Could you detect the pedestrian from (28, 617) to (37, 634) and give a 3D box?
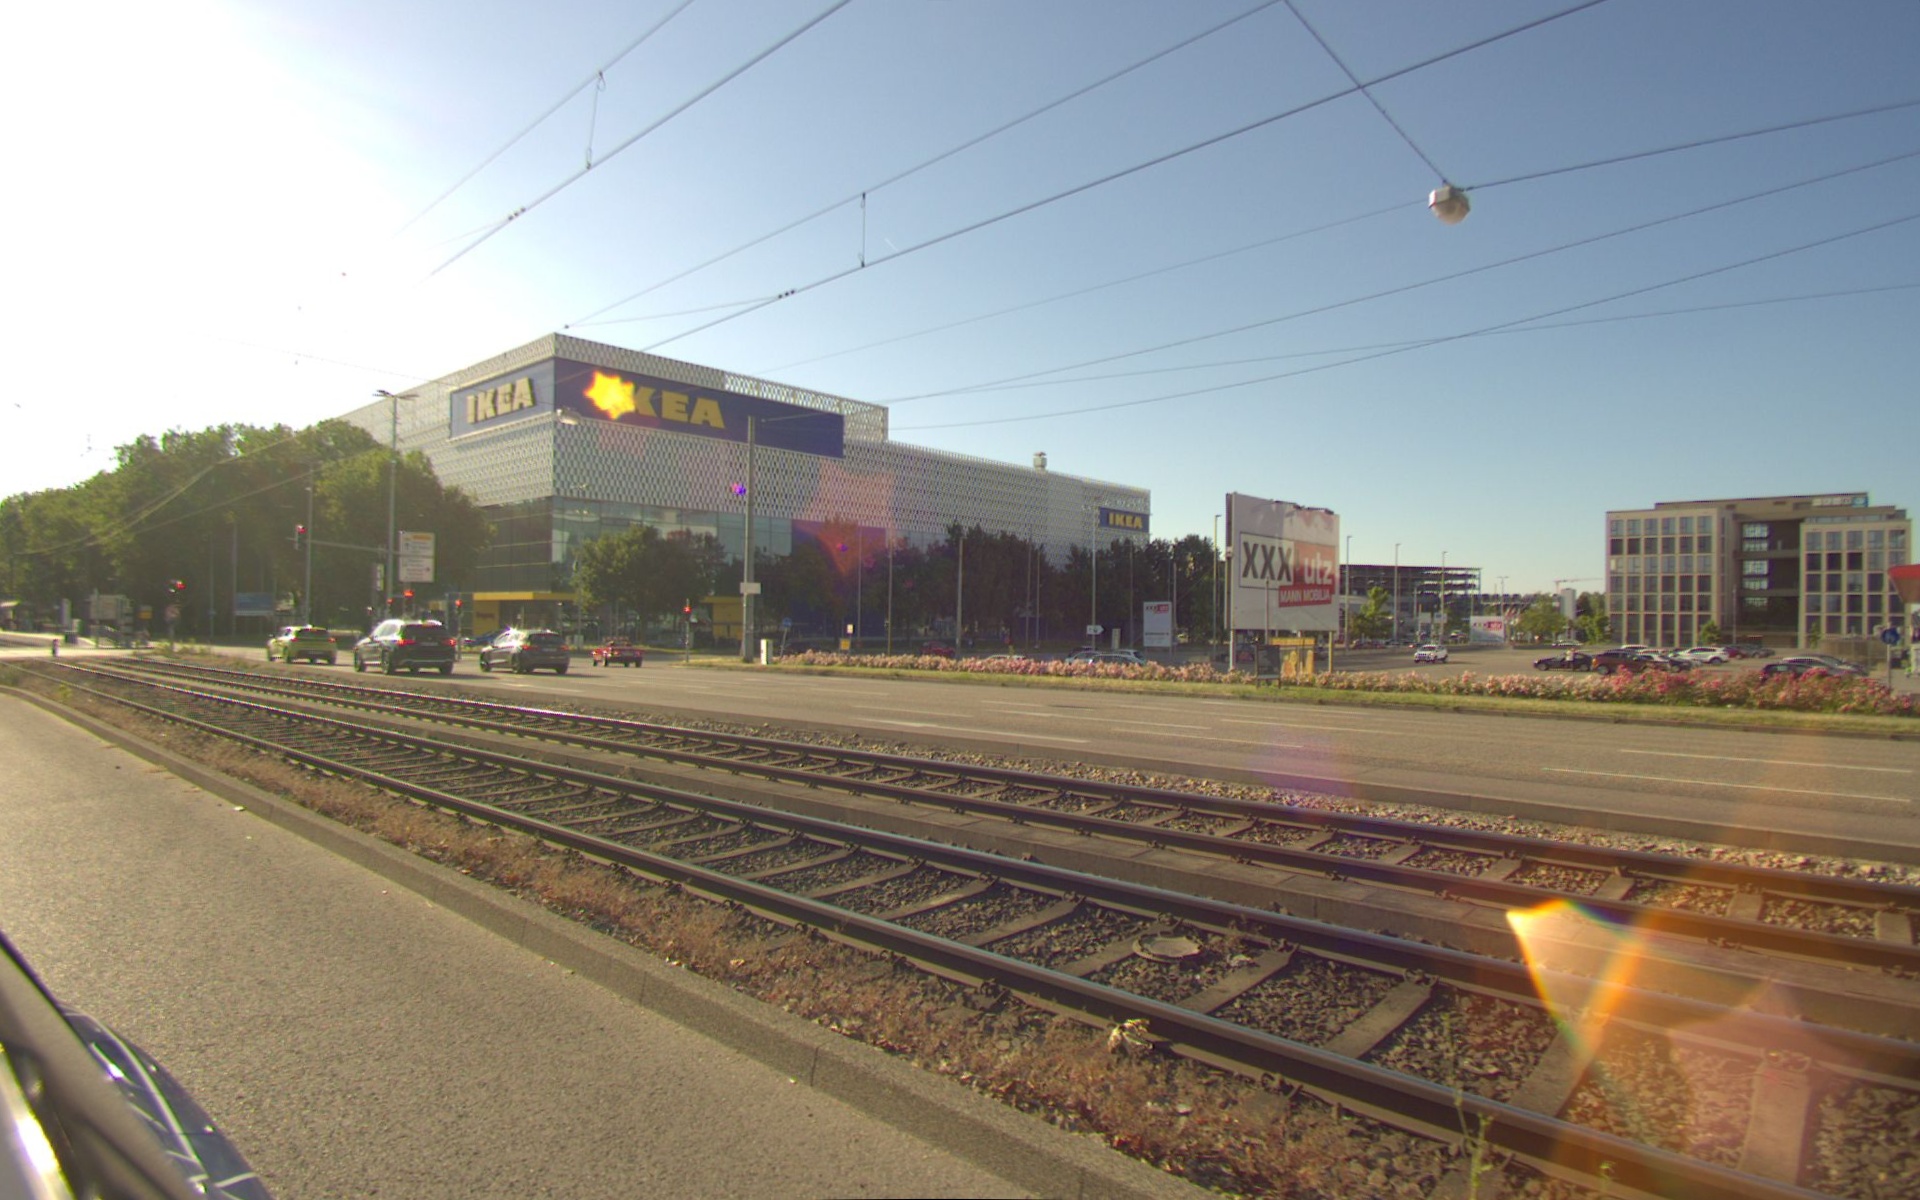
[{"bbox_3d":[-92.677,2.542,101.110,0.595,1.632,0.691,-1,0,-44],"label":"pedestrian"}]

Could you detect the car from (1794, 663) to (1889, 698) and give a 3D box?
[{"bbox_3d":[49.996,4.546,57.484,3.998,1.715,1.901,-1,0,41],"label":"car"}]

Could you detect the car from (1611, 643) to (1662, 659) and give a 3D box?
[{"bbox_3d":[68.598,5.126,102.595,4.001,1.459,1.852,-1,0,44],"label":"car"}]

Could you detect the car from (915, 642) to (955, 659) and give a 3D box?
[{"bbox_3d":[-2.290,4.731,94.317,1.770,1.471,3.537,0,-3,41],"label":"car"}]

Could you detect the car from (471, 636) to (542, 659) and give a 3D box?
[{"bbox_3d":[-32.989,3.462,73.693,4.193,1.509,2.018,5,-4,-43],"label":"car"}]

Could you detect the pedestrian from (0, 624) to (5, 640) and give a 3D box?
[{"bbox_3d":[-105.917,3.497,111.680,0.678,1.723,0.753,-2,-3,43],"label":"pedestrian"}]

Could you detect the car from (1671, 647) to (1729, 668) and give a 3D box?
[{"bbox_3d":[63.792,4.960,87.325,3.992,1.631,1.857,-1,0,36],"label":"car"}]

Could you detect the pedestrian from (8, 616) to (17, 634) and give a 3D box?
[{"bbox_3d":[-98.123,2.581,104.819,0.645,1.755,0.686,-2,0,-45],"label":"pedestrian"}]

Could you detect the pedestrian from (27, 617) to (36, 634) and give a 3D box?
[{"bbox_3d":[-93.644,2.557,102.017,0.643,1.632,0.636,-1,0,-44],"label":"pedestrian"}]

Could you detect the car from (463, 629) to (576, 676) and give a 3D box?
[{"bbox_3d":[-14.796,1.713,33.916,4.134,1.472,1.837,-1,-2,40],"label":"car"}]

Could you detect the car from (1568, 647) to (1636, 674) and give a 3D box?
[{"bbox_3d":[47.380,4.439,74.707,3.998,1.715,1.954,-1,0,41],"label":"car"}]

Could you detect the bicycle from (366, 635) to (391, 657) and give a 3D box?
[{"bbox_3d":[-31.372,2.463,54.577,1.992,1.176,0.581,-1,-1,43],"label":"bicycle"}]

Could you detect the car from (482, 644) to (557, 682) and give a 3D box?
[{"bbox_3d":[-19.591,2.773,44.907,1.910,1.488,4.139,4,-3,-40],"label":"car"}]

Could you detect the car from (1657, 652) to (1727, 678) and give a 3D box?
[{"bbox_3d":[52.843,4.683,73.078,3.995,1.631,1.855,-1,0,39],"label":"car"}]

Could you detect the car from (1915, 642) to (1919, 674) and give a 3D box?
[{"bbox_3d":[59.203,3.491,60.318,3.290,1.869,1.489,-1,0,44],"label":"car"}]

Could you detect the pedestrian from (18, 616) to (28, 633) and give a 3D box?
[{"bbox_3d":[-96.270,2.562,103.976,0.687,1.704,0.724,-1,0,42],"label":"pedestrian"}]

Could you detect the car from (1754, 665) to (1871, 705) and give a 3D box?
[{"bbox_3d":[43.430,4.310,51.641,4.446,1.715,1.901,-1,0,41],"label":"car"}]

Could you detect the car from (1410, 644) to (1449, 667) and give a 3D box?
[{"bbox_3d":[43.363,5.116,93.425,4.166,1.813,1.828,-2,0,-44],"label":"car"}]

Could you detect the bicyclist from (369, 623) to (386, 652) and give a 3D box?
[{"bbox_3d":[-31.454,2.026,54.642,0.751,1.534,0.581,-1,-2,43],"label":"bicyclist"}]

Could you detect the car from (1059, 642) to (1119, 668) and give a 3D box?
[{"bbox_3d":[9.583,4.059,75.219,3.995,1.758,1.911,-1,0,39],"label":"car"}]

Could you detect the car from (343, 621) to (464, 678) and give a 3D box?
[{"bbox_3d":[-17.647,1.521,32.003,4.658,1.668,1.972,-1,-3,43],"label":"car"}]

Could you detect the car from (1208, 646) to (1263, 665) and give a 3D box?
[{"bbox_3d":[25.022,5.065,91.978,4.433,1.563,1.651,-1,0,38],"label":"car"}]

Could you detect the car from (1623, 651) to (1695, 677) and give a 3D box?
[{"bbox_3d":[48.882,4.456,70.768,3.995,1.631,1.855,-1,0,39],"label":"car"}]

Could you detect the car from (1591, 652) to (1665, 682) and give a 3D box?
[{"bbox_3d":[46.034,4.573,69.756,3.998,1.827,1.973,-1,0,41],"label":"car"}]

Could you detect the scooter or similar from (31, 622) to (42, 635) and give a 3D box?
[{"bbox_3d":[-90.663,2.775,99.312,1.372,1.244,0.657,-1,-2,42],"label":"scooter or similar"}]

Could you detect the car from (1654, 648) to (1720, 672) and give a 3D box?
[{"bbox_3d":[55.724,4.564,77.589,3.995,1.631,1.855,-1,0,39],"label":"car"}]

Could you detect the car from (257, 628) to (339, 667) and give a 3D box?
[{"bbox_3d":[-26.472,1.867,40.442,4.107,1.459,1.764,-1,-3,43],"label":"car"}]

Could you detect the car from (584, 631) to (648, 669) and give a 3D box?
[{"bbox_3d":[-15.949,2.307,46.841,1.796,1.655,4.011,3,-3,-33],"label":"car"}]

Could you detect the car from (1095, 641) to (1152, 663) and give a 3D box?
[{"bbox_3d":[12.788,4.036,79.118,3.995,1.605,1.911,-1,0,39],"label":"car"}]

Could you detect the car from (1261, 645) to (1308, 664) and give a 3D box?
[{"bbox_3d":[31.416,5.269,97.968,4.000,1.668,1.777,-1,-2,43],"label":"car"}]

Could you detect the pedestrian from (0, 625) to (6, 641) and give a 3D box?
[{"bbox_3d":[-102.584,3.550,108.341,0.777,1.645,0.653,-1,0,44],"label":"pedestrian"}]

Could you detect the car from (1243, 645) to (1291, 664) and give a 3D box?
[{"bbox_3d":[29.169,5.181,96.221,4.000,1.668,1.704,-1,-2,43],"label":"car"}]

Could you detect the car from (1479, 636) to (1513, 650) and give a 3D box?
[{"bbox_3d":[78.813,6.323,148.759,4.000,1.794,1.972,-1,0,43],"label":"car"}]

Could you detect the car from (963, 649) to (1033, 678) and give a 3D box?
[{"bbox_3d":[2.543,4.272,68.680,4.410,1.723,1.975,-1,0,38],"label":"car"}]

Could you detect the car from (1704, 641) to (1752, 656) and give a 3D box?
[{"bbox_3d":[77.193,4.845,101.775,1.634,1.379,3.668,-2,0,-44],"label":"car"}]
